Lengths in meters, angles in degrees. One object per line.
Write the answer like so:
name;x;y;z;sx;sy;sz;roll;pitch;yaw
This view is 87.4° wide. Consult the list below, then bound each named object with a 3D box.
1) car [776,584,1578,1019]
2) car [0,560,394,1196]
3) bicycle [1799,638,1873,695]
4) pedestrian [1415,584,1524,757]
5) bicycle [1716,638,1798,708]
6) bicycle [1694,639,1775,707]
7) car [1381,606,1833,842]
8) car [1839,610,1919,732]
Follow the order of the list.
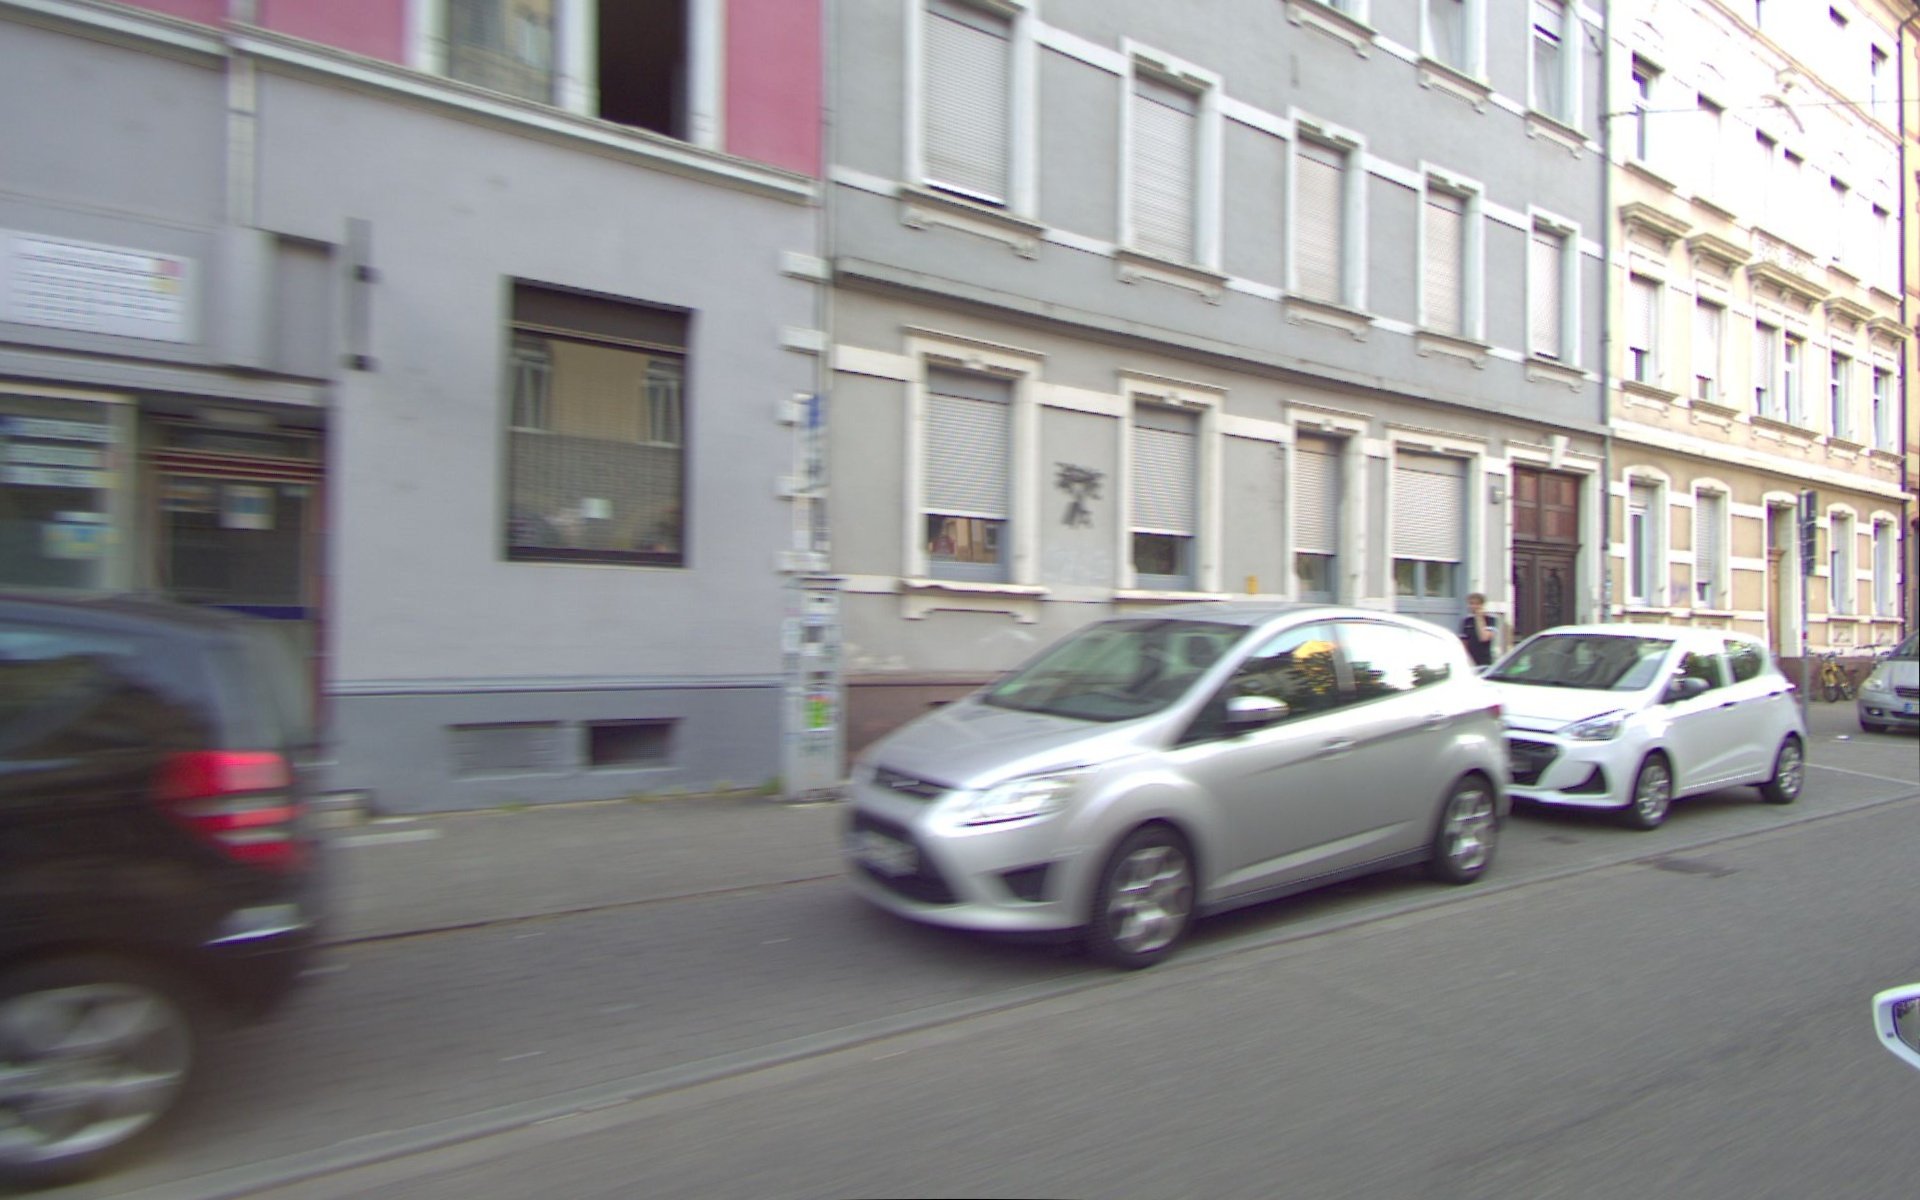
car;1.458;0.779;5.796;4.623;1.614;1.821;1;1;-34
car;-3.841;0.671;2.684;4.011;1.614;1.744;1;1;-31
bicycle;17.500;1.299;20.051;1.815;1.084;0.658;1;-2;-33
pedestrian;6.114;0.820;12.081;0.823;1.974;0.846;1;-1;-27
bicycle;13.915;1.252;17.516;1.841;1.155;0.477;1;-1;-30
bicycle;13.747;1.273;17.811;1.841;1.155;0.477;1;-1;-30
car;5.665;0.898;8.707;3.882;1.597;1.744;1;1;-31
car;14.646;1.000;14.425;4.096;1.614;1.791;1;1;-30
